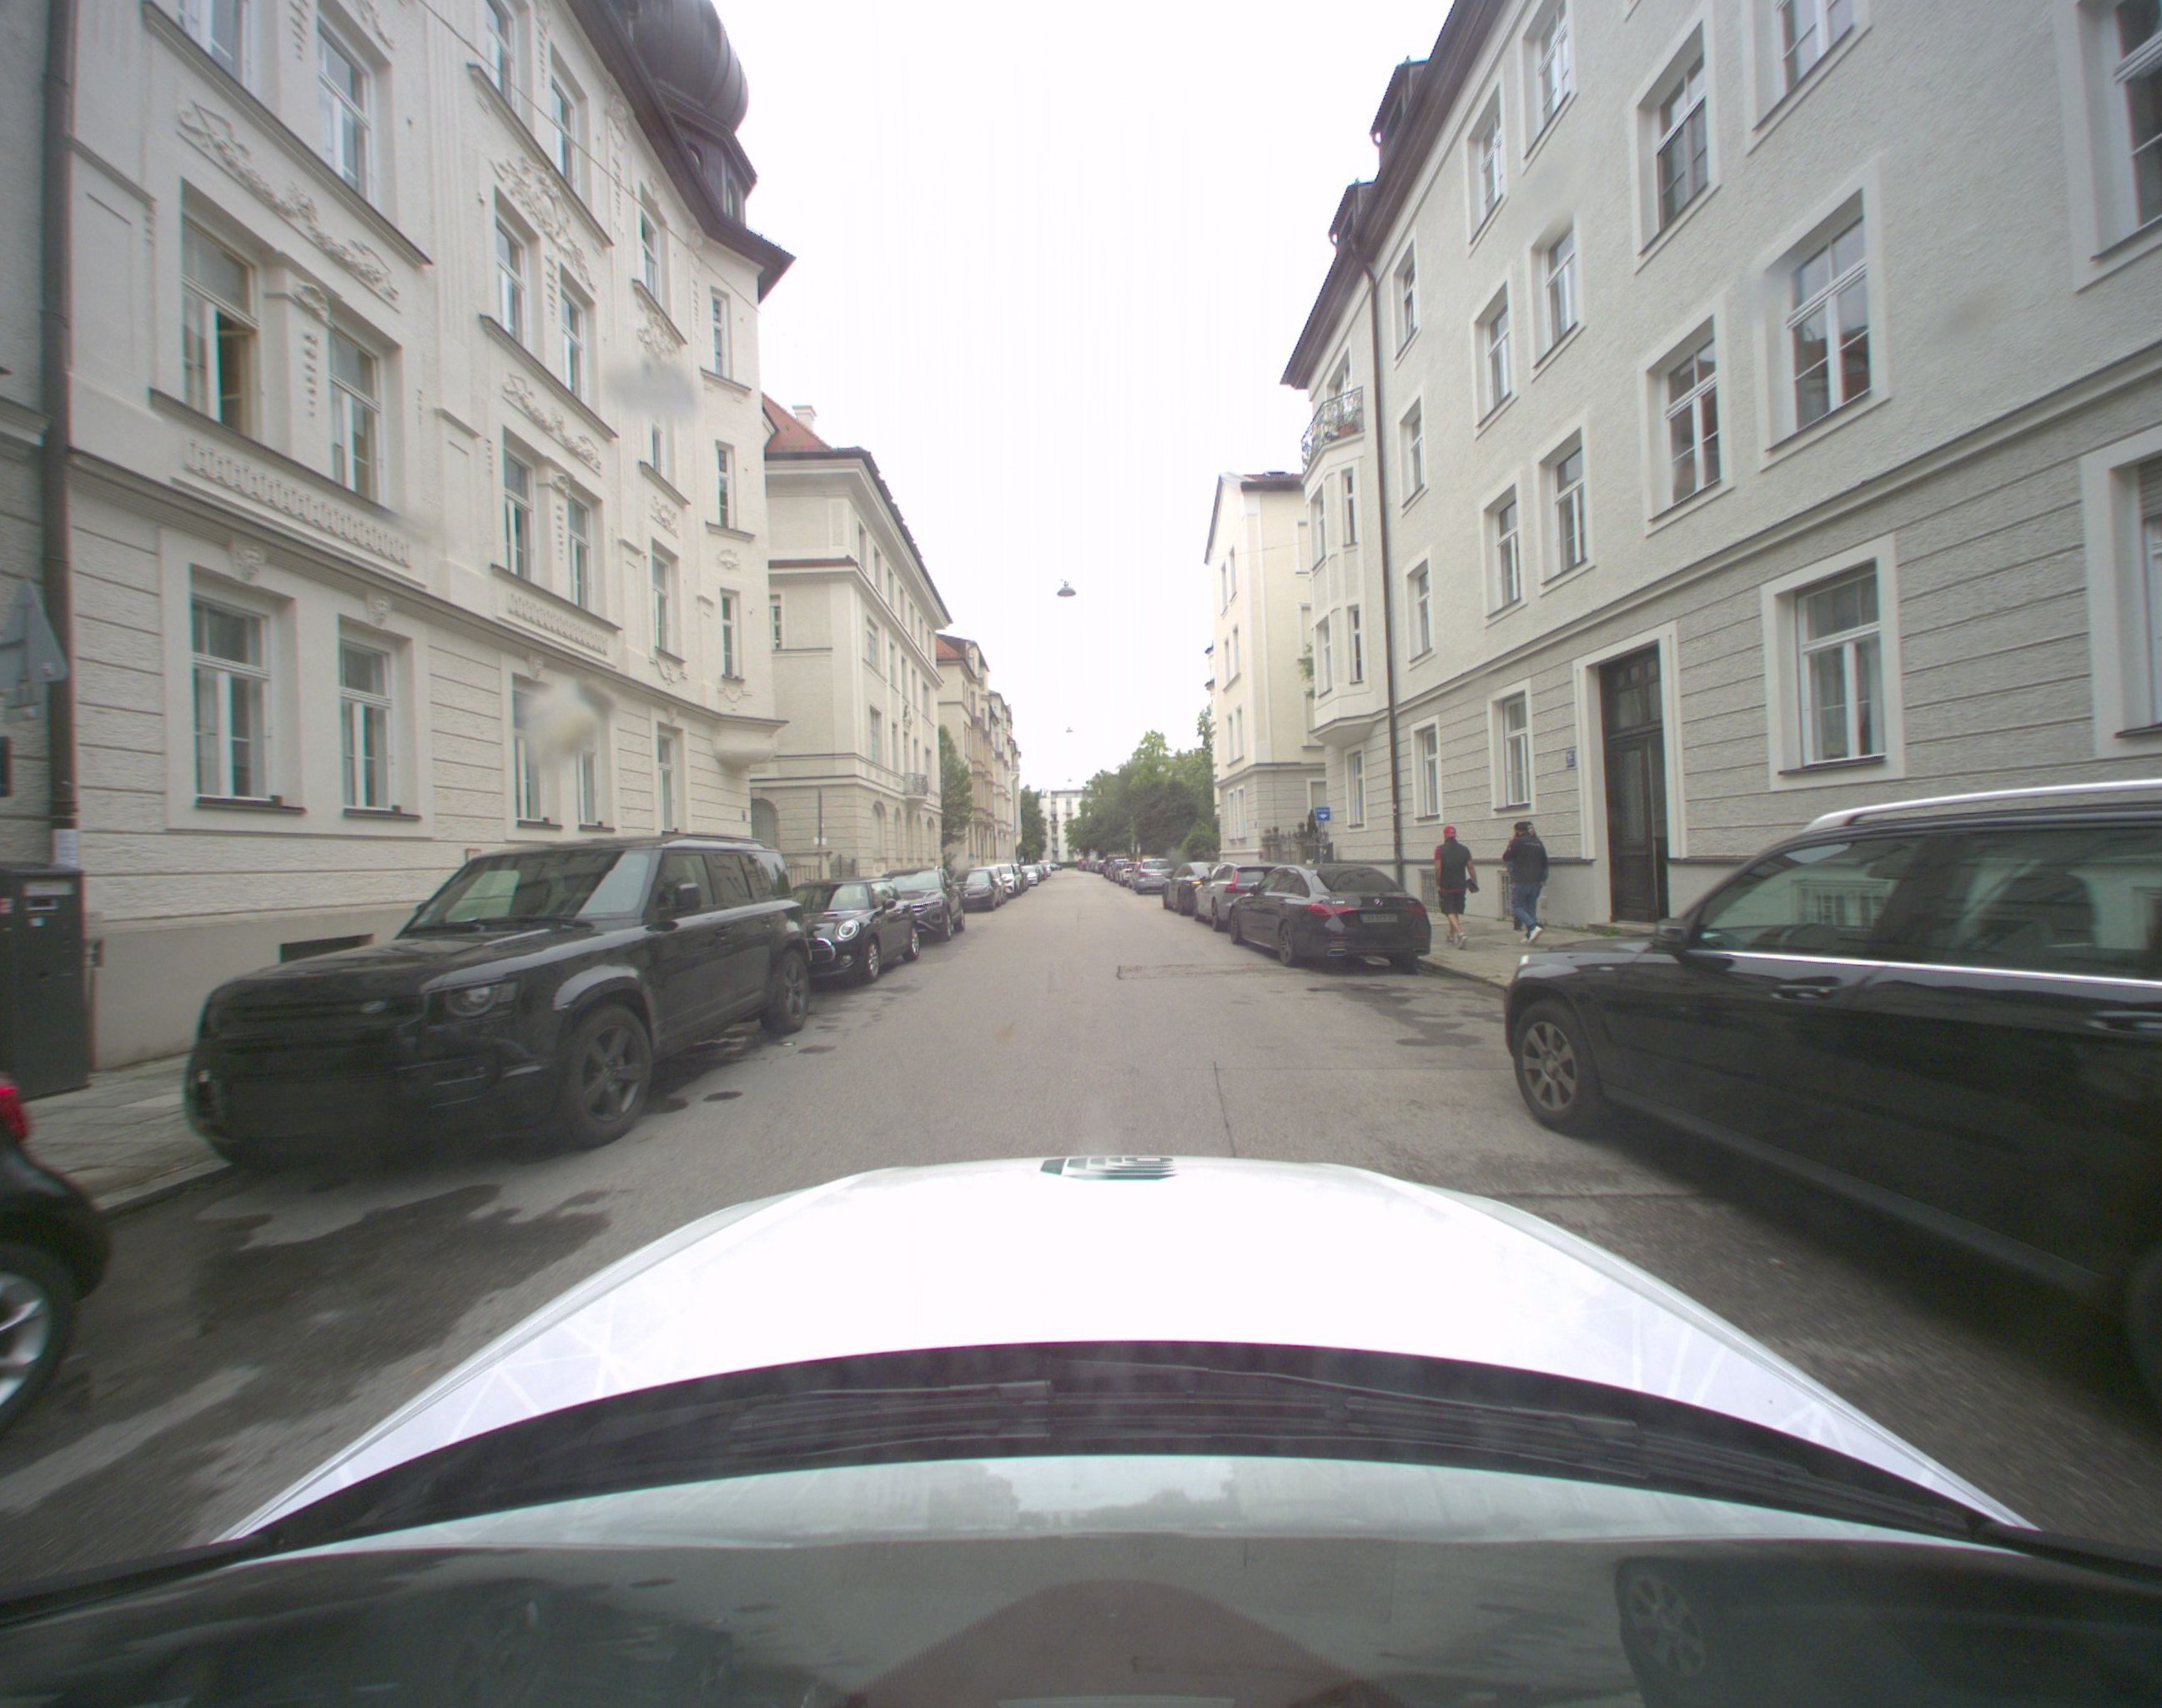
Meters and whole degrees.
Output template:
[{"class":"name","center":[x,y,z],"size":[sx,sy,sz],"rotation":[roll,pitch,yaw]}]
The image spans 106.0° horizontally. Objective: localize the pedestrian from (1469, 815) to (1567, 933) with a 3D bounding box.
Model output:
[{"class":"pedestrian","center":[7.272,0.325,13.618],"size":[0.880,1.813,1.111],"rotation":[-6,-1,0]}]

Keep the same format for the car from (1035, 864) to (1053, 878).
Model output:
[{"class":"car","center":[-4.349,1.986,95.534],"size":[1.831,1.438,4.274],"rotation":[-5,0,0]}]

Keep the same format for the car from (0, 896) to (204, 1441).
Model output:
[{"class":"car","center":[-3.880,0.931,1.057],"size":[1.611,1.513,3.530],"rotation":[-3,0,-1]}]

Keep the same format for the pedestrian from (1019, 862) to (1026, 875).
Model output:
[{"class":"pedestrian","center":[-7.999,1.935,111.036],"size":[0.791,1.679,0.699],"rotation":[-2,-1,-5]}]

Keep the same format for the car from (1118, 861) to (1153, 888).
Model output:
[{"class":"car","center":[3.200,1.198,48.273],"size":[1.779,1.504,4.063],"rotation":[-1,-1,-1]}]

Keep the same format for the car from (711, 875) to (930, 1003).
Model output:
[{"class":"car","center":[-3.661,1.121,12.334],"size":[1.830,1.394,4.244],"rotation":[-4,0,0]}]

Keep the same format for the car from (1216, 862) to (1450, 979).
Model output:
[{"class":"car","center":[3.594,0.856,12.729],"size":[1.833,1.399,4.966],"rotation":[0,0,-4]}]

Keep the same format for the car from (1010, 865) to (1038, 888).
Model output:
[{"class":"car","center":[-4.143,1.617,59.981],"size":[1.832,1.434,4.241],"rotation":[-3,0,-2]}]

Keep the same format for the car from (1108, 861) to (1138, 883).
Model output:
[{"class":"car","center":[3.085,1.307,60.593],"size":[1.747,1.611,4.417],"rotation":[0,0,-4]}]

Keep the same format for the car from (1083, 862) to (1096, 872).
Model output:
[{"class":"car","center":[1.331,2.143,131.928],"size":[1.835,1.519,3.941],"rotation":[-1,-1,-4]}]

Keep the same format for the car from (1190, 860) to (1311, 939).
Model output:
[{"class":"car","center":[3.586,0.895,18.004],"size":[1.755,1.486,4.419],"rotation":[1,0,0]}]

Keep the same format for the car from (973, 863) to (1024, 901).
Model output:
[{"class":"car","center":[-3.874,1.286,39.049],"size":[1.909,1.619,4.570],"rotation":[-2,0,0]}]

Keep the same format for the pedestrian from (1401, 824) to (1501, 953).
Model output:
[{"class":"pedestrian","center":[5.556,0.499,12.304],"size":[0.880,1.811,1.111],"rotation":[-4,-1,0]}]

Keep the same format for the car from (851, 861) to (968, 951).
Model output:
[{"class":"car","center":[-3.582,1.029,17.755],"size":[1.722,1.618,4.117],"rotation":[-4,-1,-2]}]

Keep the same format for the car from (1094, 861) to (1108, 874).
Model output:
[{"class":"car","center":[2.563,1.722,103.261],"size":[1.510,1.661,3.669],"rotation":[-1,-1,-3]}]

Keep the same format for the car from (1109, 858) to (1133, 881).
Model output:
[{"class":"car","center":[3.209,1.261,65.577],"size":[1.717,1.769,4.412],"rotation":[1,-1,0]}]

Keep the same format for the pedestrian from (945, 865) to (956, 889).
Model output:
[{"class":"pedestrian","center":[-9.055,1.623,56.571],"size":[0.672,1.626,0.630],"rotation":[-2,-1,-4]}]

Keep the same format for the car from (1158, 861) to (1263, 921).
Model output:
[{"class":"car","center":[3.541,0.967,23.206],"size":[1.989,1.457,4.708],"rotation":[-2,-1,-3]}]

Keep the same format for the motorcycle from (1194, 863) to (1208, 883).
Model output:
[{"class":"motorcycle","center":[7.039,1.101,47.786],"size":[0.605,1.112,1.966],"rotation":[-2,-1,3]}]

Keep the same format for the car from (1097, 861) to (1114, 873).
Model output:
[{"class":"car","center":[2.769,1.504,93.358],"size":[1.833,1.413,4.340],"rotation":[-1,-1,-1]}]

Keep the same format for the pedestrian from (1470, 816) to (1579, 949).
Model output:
[{"class":"pedestrian","center":[6.437,0.401,11.886],"size":[0.880,1.786,1.111],"rotation":[-4,-1,0]}]

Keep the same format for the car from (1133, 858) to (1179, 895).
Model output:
[{"class":"car","center":[3.391,0.997,37.352],"size":[1.815,1.569,4.401],"rotation":[1,0,1]}]

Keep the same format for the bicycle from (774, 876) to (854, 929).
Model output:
[{"class":"bicycle","center":[-7.031,1.237,21.659],"size":[1.148,1.242,2.716],"rotation":[2,-1,0]}]

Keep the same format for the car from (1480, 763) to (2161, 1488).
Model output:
[{"class":"car","center":[3.380,0.641,2.934],"size":[1.795,1.675,4.187],"rotation":[0,0,-1]}]

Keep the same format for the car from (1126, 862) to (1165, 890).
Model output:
[{"class":"car","center":[3.358,1.128,43.170],"size":[1.749,1.406,3.450],"rotation":[-1,-1,-1]}]

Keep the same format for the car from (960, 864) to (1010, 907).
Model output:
[{"class":"car","center":[-3.946,1.263,34.019],"size":[1.779,1.541,4.251],"rotation":[-4,-1,-4]}]

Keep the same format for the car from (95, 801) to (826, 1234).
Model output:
[{"class":"car","center":[-3.637,0.765,6.188],"size":[1.831,1.894,4.761],"rotation":[-4,0,-1]}]

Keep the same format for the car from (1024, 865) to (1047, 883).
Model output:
[{"class":"car","center":[-4.169,1.817,74.965],"size":[1.831,1.435,4.243],"rotation":[-5,0,0]}]

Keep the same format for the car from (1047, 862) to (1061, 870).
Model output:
[{"class":"car","center":[-4.908,2.152,146.909],"size":[1.876,1.428,4.391],"rotation":[-2,0,-12]}]

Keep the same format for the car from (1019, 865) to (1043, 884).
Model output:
[{"class":"car","center":[-4.227,1.708,69.357],"size":[1.829,1.434,4.550],"rotation":[-3,0,-2]}]

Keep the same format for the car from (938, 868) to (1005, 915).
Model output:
[{"class":"car","center":[-3.846,1.285,29.326],"size":[1.787,1.415,4.276],"rotation":[-4,-1,-1]}]

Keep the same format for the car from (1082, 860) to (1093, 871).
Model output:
[{"class":"car","center":[1.074,1.949,142.778],"size":[1.829,1.927,4.006],"rotation":[1,0,1]}]

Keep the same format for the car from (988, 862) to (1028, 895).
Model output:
[{"class":"car","center":[-3.934,1.311,44.605],"size":[1.831,1.619,4.242],"rotation":[-2,0,-1]}]
